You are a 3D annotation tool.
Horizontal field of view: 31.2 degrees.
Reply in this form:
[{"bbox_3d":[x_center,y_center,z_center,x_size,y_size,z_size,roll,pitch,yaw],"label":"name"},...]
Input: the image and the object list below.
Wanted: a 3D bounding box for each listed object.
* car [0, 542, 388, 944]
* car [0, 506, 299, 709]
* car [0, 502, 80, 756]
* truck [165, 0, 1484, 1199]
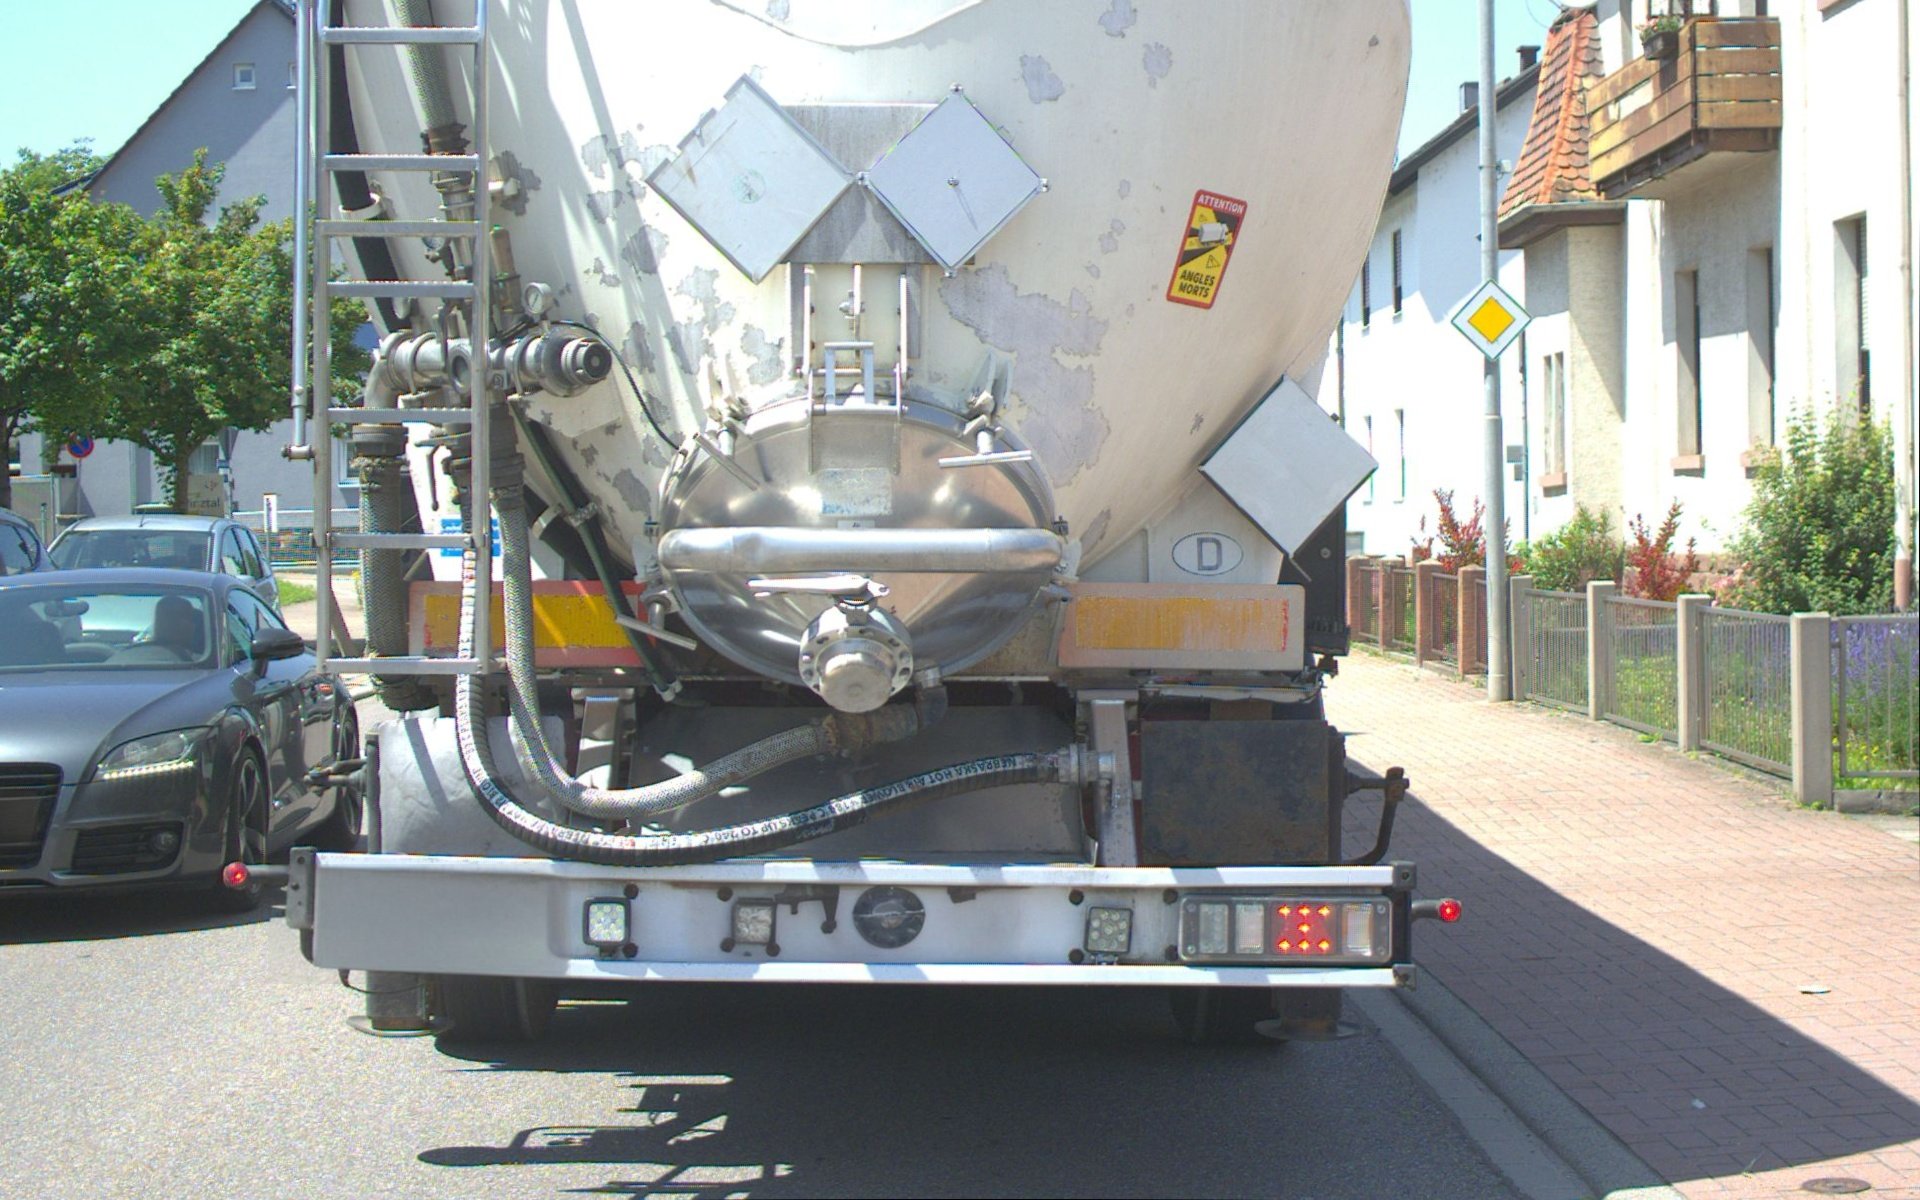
[{"bbox_3d":[-3.565,0.505,14.276,1.706,1.365,3.869,-3,2,0],"label":"car"},{"bbox_3d":[-6.707,0.012,28.729,1.697,1.575,3.838,0,1,-1],"label":"car"},{"bbox_3d":[-6.945,0.183,21.817,1.691,1.614,3.998,0,1,0],"label":"car"},{"bbox_3d":[-0.301,-0.805,11.678,2.641,4.002,9.562,0,1,0],"label":"truck"}]
